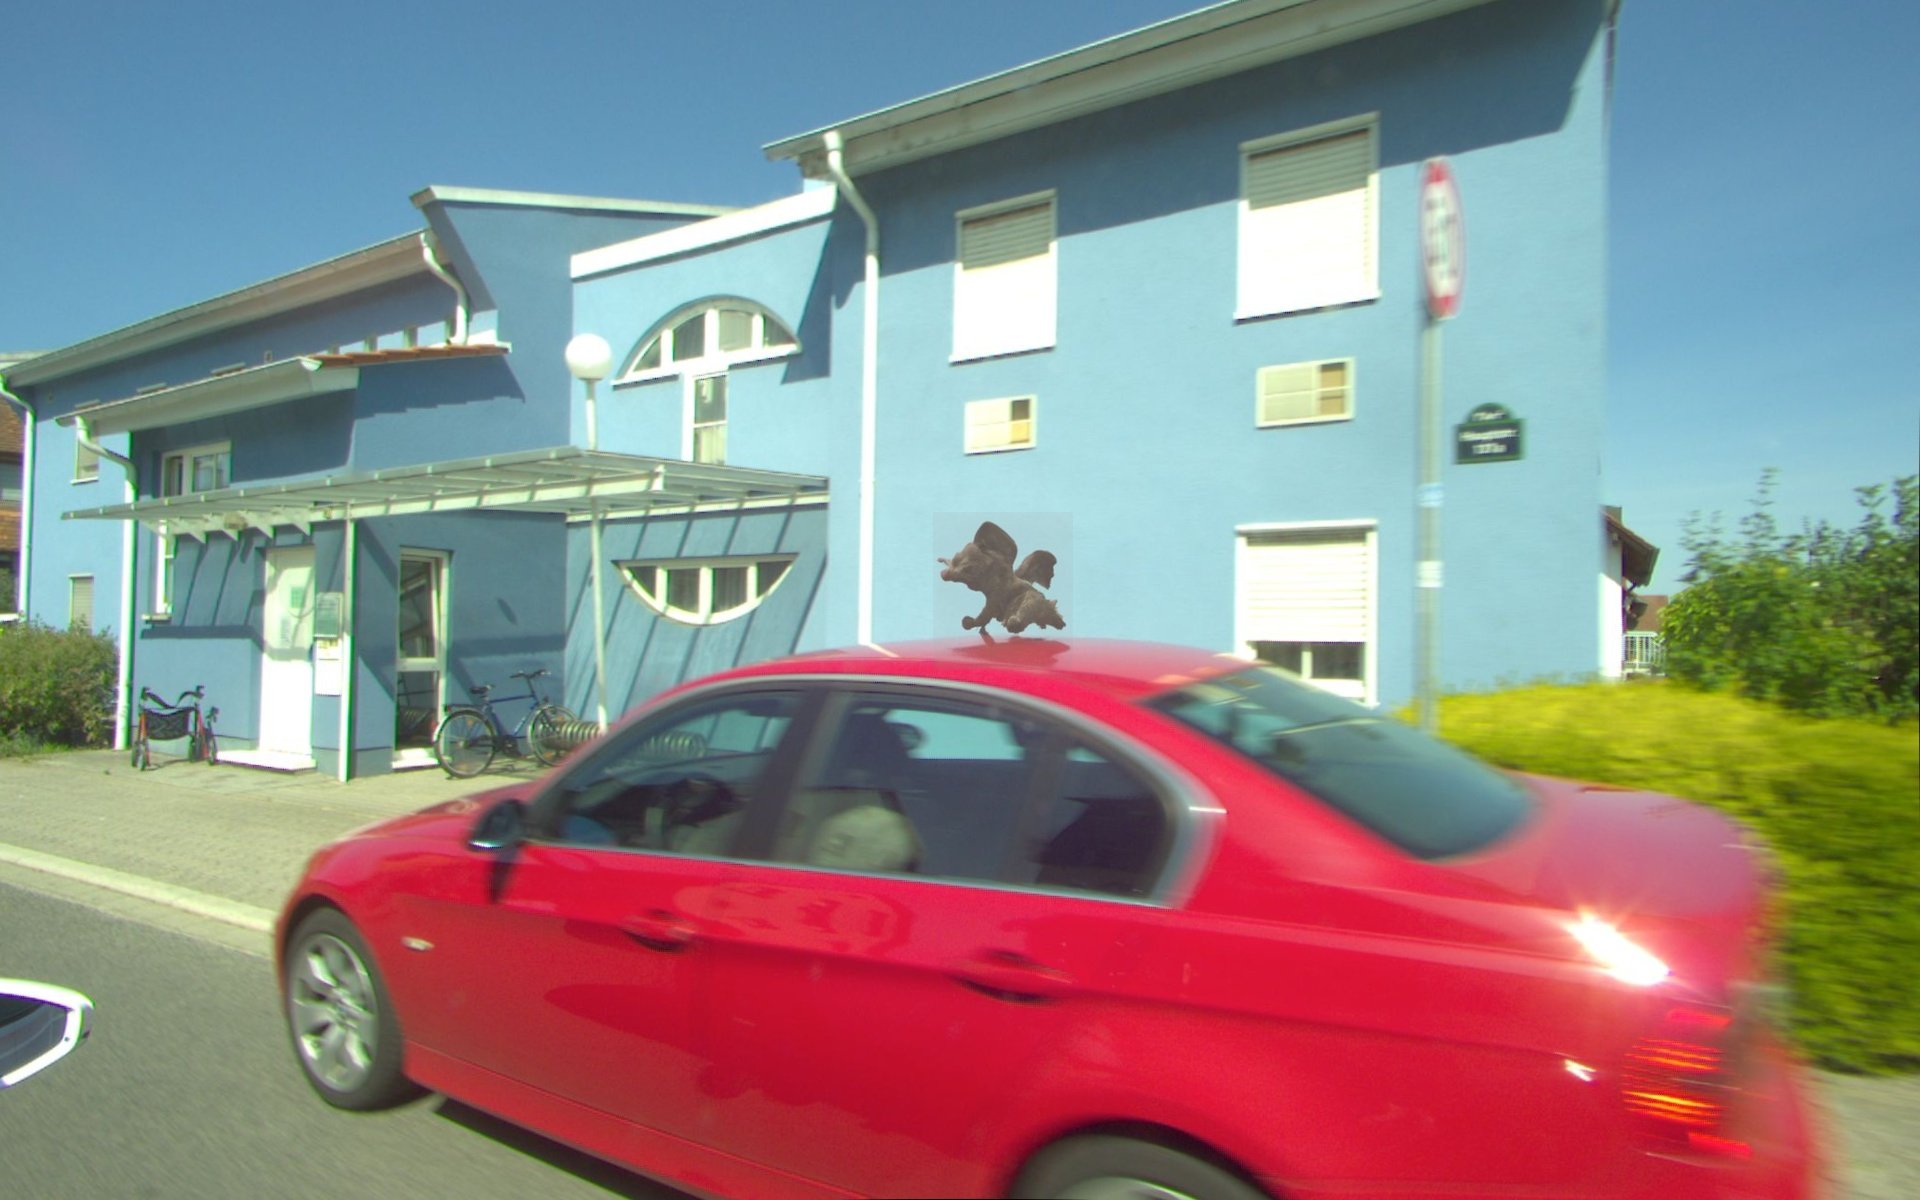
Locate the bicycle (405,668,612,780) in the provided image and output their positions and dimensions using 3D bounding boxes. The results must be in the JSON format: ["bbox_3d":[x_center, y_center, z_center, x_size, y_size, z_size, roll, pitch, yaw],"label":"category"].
[{"bbox_3d":[-4.638,1.235,10.448,0.647,0.993,1.952,0,-2,30],"label":"bicycle"}]

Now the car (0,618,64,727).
[{"bbox_3d":[-14.592,0.975,14.080,4.082,1.437,1.689,-1,-3,29],"label":"car"}]

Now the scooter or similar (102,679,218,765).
[{"bbox_3d":[-8.468,1.272,10.608,0.816,0.825,0.726,-1,-2,33],"label":"scooter or similar"}]

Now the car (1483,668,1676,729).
[{"bbox_3d":[16.682,2.640,27.102,4.328,1.446,1.690,-1,-6,34],"label":"car"}]

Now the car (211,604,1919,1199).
[{"bbox_3d":[-0.259,0.832,3.036,4.290,1.514,1.730,1,0,31],"label":"car"}]

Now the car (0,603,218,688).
[{"bbox_3d":[-18.934,0.987,21.752,1.785,1.678,4.170,-1,-3,31],"label":"car"}]
